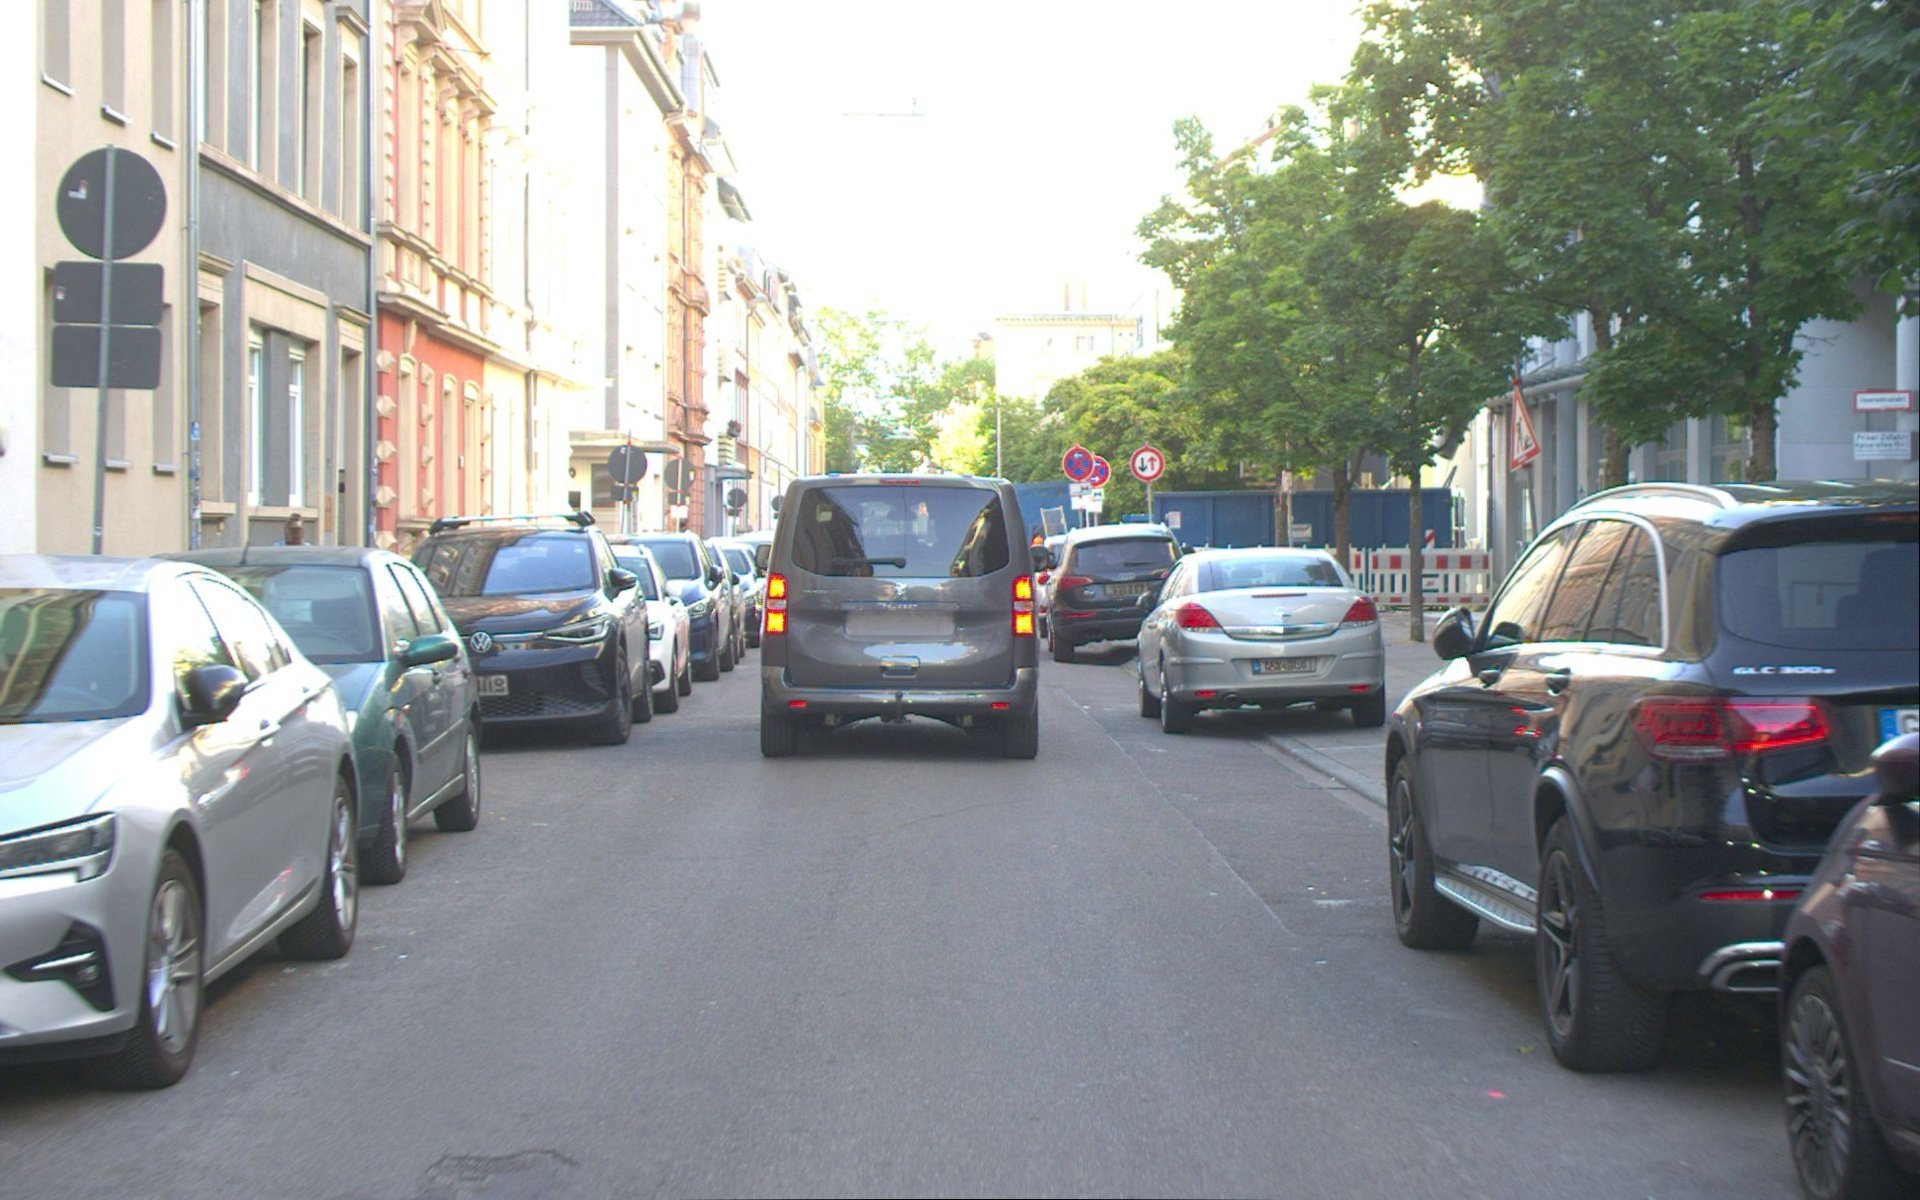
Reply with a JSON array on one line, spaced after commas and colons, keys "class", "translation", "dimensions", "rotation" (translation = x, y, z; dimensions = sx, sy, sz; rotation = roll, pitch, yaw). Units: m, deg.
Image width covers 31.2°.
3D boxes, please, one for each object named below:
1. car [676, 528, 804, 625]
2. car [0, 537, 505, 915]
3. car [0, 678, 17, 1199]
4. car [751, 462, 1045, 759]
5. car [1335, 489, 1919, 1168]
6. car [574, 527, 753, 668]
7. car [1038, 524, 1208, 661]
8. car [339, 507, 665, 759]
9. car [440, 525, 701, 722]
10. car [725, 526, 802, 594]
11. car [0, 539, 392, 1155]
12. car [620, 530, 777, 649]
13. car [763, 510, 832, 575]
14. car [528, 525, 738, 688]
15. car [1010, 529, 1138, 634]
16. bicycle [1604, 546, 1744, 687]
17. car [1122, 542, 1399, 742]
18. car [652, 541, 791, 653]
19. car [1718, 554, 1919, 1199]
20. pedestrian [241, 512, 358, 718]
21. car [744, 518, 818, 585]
[{"class": "car", "translation": [-3.712, -0.435, 58.674], "dimensions": [1.920, 1.502, 4.267], "rotation": [-2, 2, -1]}, {"class": "car", "translation": [-3.283, 0.471, 16.098], "dimensions": [1.779, 1.483, 4.421], "rotation": [-2, 1, -1]}, {"class": "car", "translation": [-3.048, 0.707, 5.528], "dimensions": [1.922, 1.483, 4.618], "rotation": [-2, 1, -2]}, {"class": "car", "translation": [-0.426, 0.046, 24.192], "dimensions": [1.865, 1.880, 4.235], "rotation": [1, 1, -1]}, {"class": "car", "translation": [2.412, 0.496, 10.731], "dimensions": [1.871, 1.630, 4.723], "rotation": [-2, 1, -1]}, {"class": "car", "translation": [-3.598, -0.076, 42.379], "dimensions": [1.901, 1.554, 4.241], "rotation": [-2, 2, -2]}, {"class": "car", "translation": [2.034, -0.132, 44.074], "dimensions": [1.885, 1.617, 4.434], "rotation": [-2, 1, -1]}, {"class": "car", "translation": [-3.345, 0.166, 25.933], "dimensions": [1.920, 1.658, 4.469], "rotation": [-2, 2, -2]}, {"class": "car", "translation": [-3.424, 0.146, 30.931], "dimensions": [1.920, 1.554, 4.267], "rotation": [-2, 2, -2]}, {"class": "car", "translation": [-4.685, -0.953, 81.759], "dimensions": [1.656, 1.455, 3.418], "rotation": [5, 0, -4]}, {"class": "car", "translation": [-3.070, 0.583, 10.638], "dimensions": [1.922, 1.483, 4.618], "rotation": [-2, 1, -1]}, {"class": "car", "translation": [-3.587, -0.187, 47.852], "dimensions": [1.920, 1.479, 4.267], "rotation": [-2, 2, -2]}, {"class": "car", "translation": [-5.085, -1.785, 107.190], "dimensions": [1.891, 1.840, 4.349], "rotation": [5, 0, -4]}, {"class": "car", "translation": [-3.459, 0.023, 37.035], "dimensions": [1.920, 1.554, 4.267], "rotation": [-2, 2, -2]}, {"class": "car", "translation": [1.724, -0.317, 53.233], "dimensions": [1.676, 1.520, 3.971], "rotation": [-2, 1, -2]}, {"class": "bicycle", "translation": [6.127, 0.128, 29.581], "dimensions": [0.520, 1.164, 1.741], "rotation": [-2, 1, -11]}, {"class": "car", "translation": [2.330, 0.273, 27.679], "dimensions": [1.763, 1.424, 4.345], "rotation": [-2, 1, -1]}, {"class": "car", "translation": [-3.650, -0.087, 53.280], "dimensions": [1.920, 1.554, 4.267], "rotation": [-2, 2, -2]}, {"class": "car", "translation": [2.676, 0.655, 6.341], "dimensions": [1.676, 1.478, 3.652], "rotation": [-2, 1, -1]}, {"class": "pedestrian", "translation": [-5.879, 0.121, 30.638], "dimensions": [0.789, 1.784, 1.092], "rotation": [-2, 1, -1]}, {"class": "car", "translation": [-5.121, -1.368, 97.823], "dimensions": [1.891, 1.713, 3.754], "rotation": [5, 0, -4]}]
